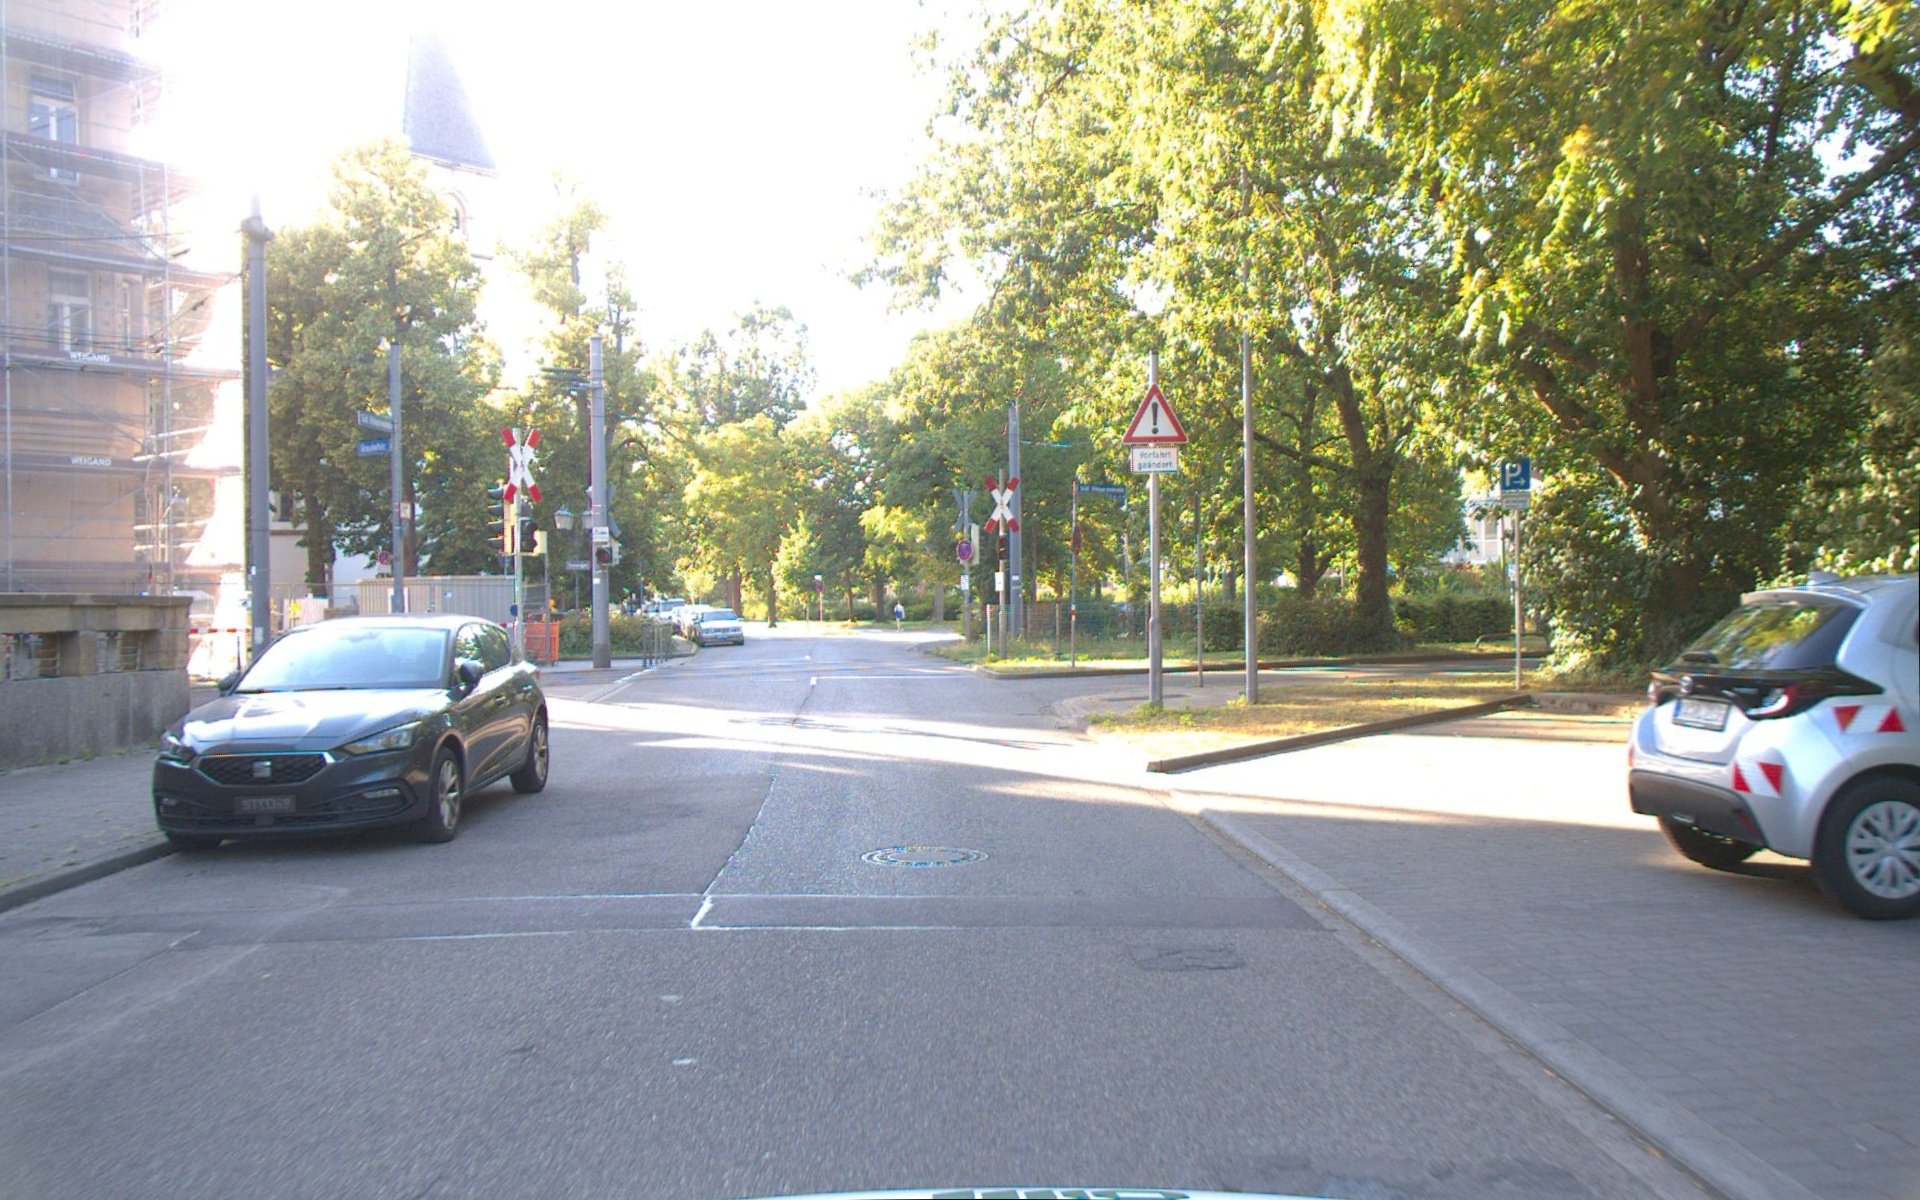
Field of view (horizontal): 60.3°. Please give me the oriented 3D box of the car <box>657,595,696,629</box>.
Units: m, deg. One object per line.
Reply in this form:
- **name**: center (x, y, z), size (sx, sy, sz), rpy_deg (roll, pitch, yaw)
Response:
- **car**: center (-16.835, 0.711, 98.081), size (1.820, 1.980, 4.821), rpy_deg (-1, 0, -15)

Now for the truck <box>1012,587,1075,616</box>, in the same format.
- **truck**: center (9.065, 0.210, 180.459), size (2.582, 3.082, 7.911), rpy_deg (0, 0, -34)

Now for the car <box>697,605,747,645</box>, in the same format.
- **car**: center (-9.432, 0.967, 65.284), size (1.747, 1.440, 4.487), rpy_deg (-3, 0, -10)

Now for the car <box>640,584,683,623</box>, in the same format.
- **car**: center (-18.967, 0.243, 104.997), size (1.824, 2.397, 5.155), rpy_deg (0, 0, -20)

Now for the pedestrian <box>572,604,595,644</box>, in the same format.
- **pedestrian**: center (-12.526, 0.787, 55.054), size (0.539, 1.320, 0.766), rpy_deg (-1, 0, 3)

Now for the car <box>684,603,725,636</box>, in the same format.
- **car**: center (-12.148, 0.926, 78.471), size (1.585, 1.465, 3.593), rpy_deg (-2, 0, -13)

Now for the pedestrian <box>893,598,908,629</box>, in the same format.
- **pedestrian**: center (-3.156, 0.726, 87.871), size (0.758, 1.602, 0.767), rpy_deg (-1, 0, -5)

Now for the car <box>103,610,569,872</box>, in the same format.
- **car**: center (-4.117, 0.830, 11.707), size (1.708, 1.473, 4.208), rpy_deg (-1, 0, 0)

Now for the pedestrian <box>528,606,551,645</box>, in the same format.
- **pedestrian**: center (-13.931, 0.833, 54.805), size (0.539, 1.254, 0.725), rpy_deg (-1, 0, 3)

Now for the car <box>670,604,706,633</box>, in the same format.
- **car**: center (-14.829, 1.010, 89.927), size (1.589, 1.527, 3.682), rpy_deg (-1, 0, -15)

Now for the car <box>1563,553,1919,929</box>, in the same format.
- **car**: center (5.241, 0.529, 8.062), size (3.907, 1.573, 1.734), rpy_deg (-3, 0, -2)

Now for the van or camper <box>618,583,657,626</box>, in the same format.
- **van or camper**: center (-22.897, 0.327, 117.242), size (2.057, 2.959, 6.301), rpy_deg (0, 0, -17)
